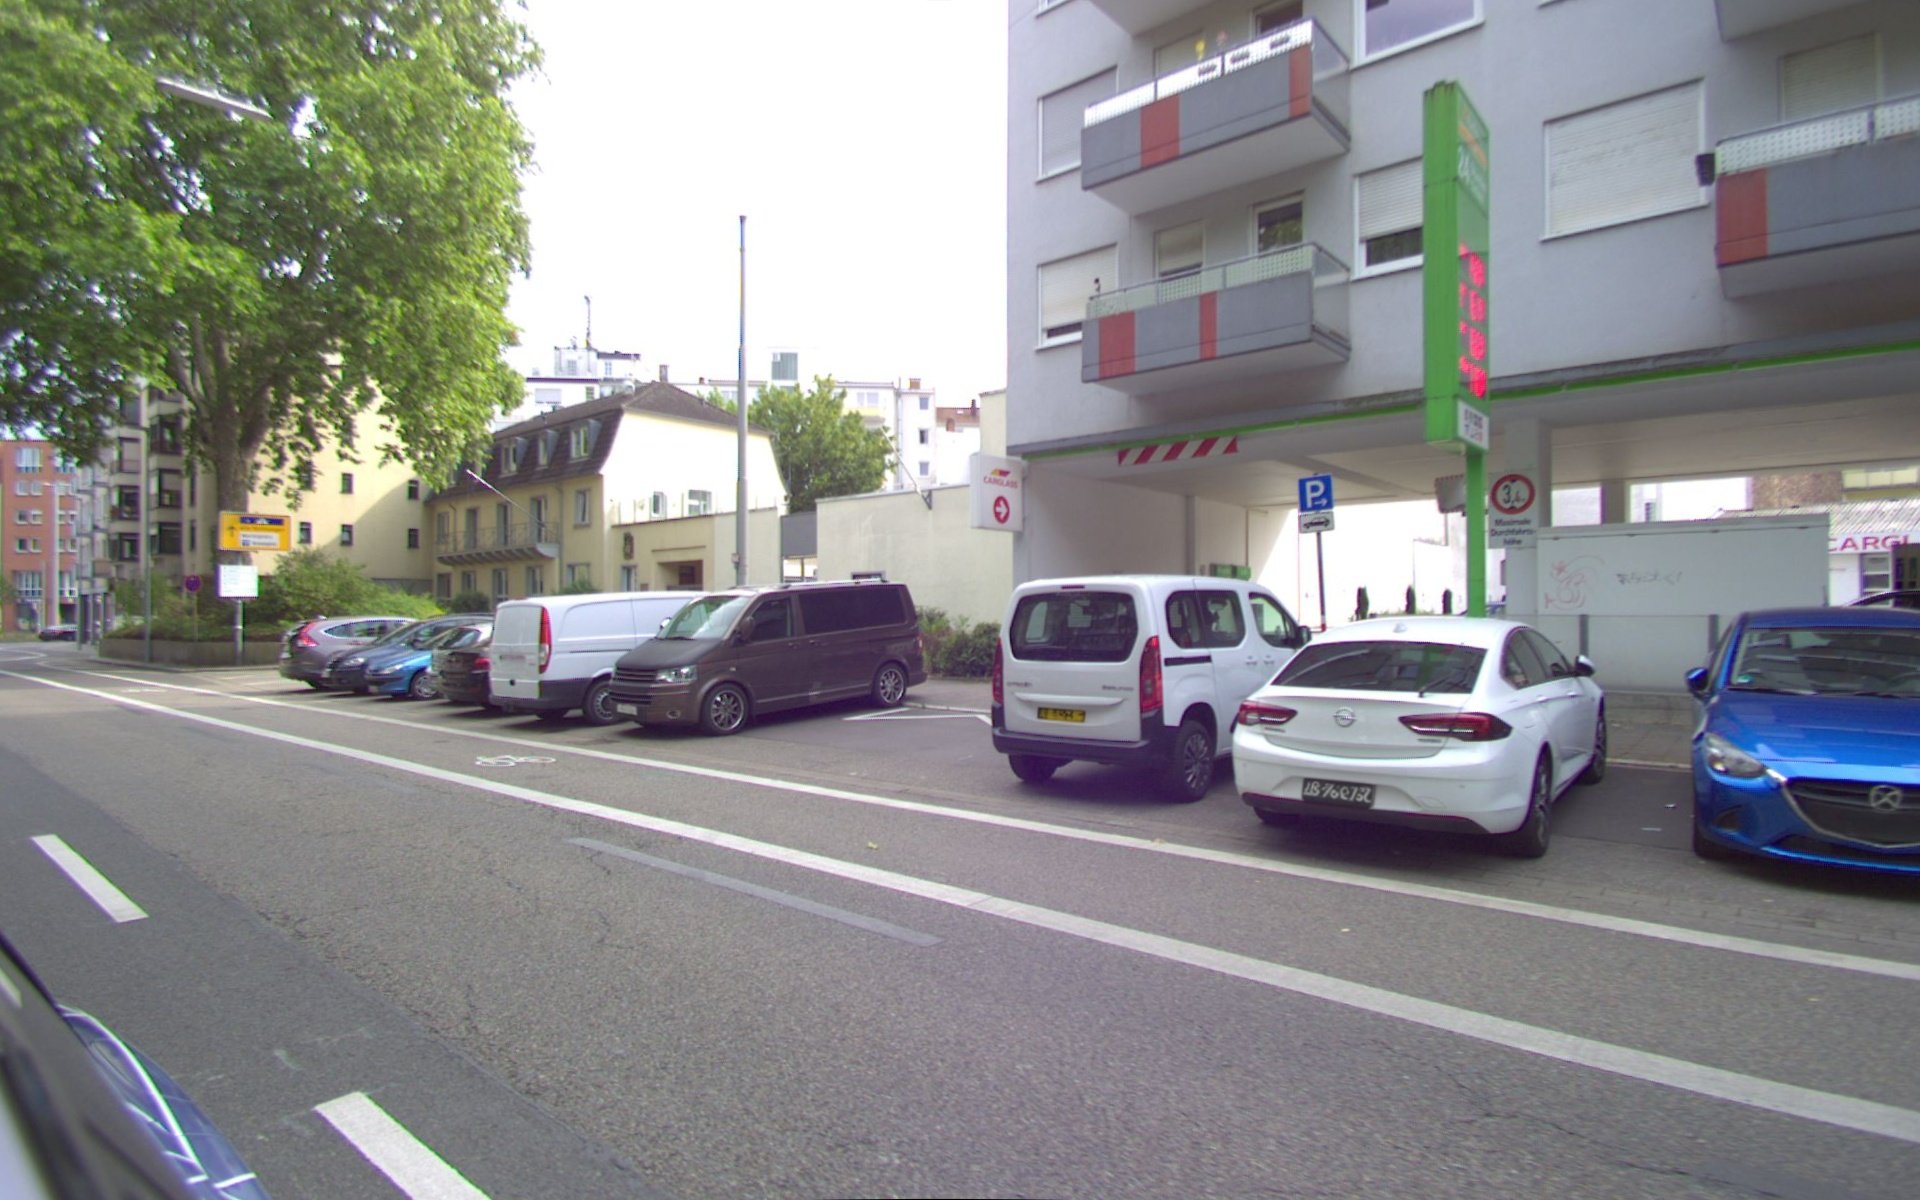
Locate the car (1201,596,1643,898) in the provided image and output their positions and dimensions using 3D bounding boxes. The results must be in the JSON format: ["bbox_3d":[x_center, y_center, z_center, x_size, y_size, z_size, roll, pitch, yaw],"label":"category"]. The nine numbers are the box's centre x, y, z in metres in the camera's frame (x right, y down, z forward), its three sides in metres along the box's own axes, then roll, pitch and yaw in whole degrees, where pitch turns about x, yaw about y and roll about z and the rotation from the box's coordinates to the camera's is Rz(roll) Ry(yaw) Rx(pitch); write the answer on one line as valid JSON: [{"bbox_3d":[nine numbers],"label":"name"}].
[{"bbox_3d":[3.670,0.788,7.563,1.873,1.462,4.227,-2,1,41],"label":"car"}]

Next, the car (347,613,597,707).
[{"bbox_3d":[-9.820,1.134,20.612,1.719,1.522,4.221,-2,1,42],"label":"car"}]

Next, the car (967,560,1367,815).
[{"bbox_3d":[2.169,0.609,9.702,1.923,1.861,4.168,-2,1,41],"label":"car"}]

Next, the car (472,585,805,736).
[{"bbox_3d":[-4.855,0.799,15.825,1.949,1.873,4.568,-2,1,42],"label":"car"}]

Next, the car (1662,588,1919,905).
[{"bbox_3d":[6.089,0.718,6.703,1.909,1.462,4.256,-2,1,41],"label":"car"}]

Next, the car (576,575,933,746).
[{"bbox_3d":[-2.745,0.700,14.504,1.993,1.948,4.717,-2,1,42],"label":"car"}]

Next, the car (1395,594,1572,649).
[{"bbox_3d":[15.466,0.633,30.047,4.364,1.533,1.820,-2,-1,41],"label":"car"}]

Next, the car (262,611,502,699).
[{"bbox_3d":[-13.272,1.191,23.465,1.753,1.618,4.471,-2,1,41],"label":"car"}]

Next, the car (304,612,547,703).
[{"bbox_3d":[-11.489,1.163,21.991,1.732,1.560,4.316,-2,1,41],"label":"car"}]

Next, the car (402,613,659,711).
[{"bbox_3d":[-8.076,1.084,19.312,1.719,1.462,4.149,-2,1,42],"label":"car"}]

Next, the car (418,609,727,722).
[{"bbox_3d":[-6.556,1.016,17.579,1.873,1.480,4.656,-2,1,41],"label":"car"}]

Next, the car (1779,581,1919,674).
[{"bbox_3d":[14.495,0.387,14.695,3.997,1.308,1.888,-1,-1,40],"label":"car"}]

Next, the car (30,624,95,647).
[{"bbox_3d":[-72.125,2.828,81.429,1.940,1.683,4.562,-1,0,-12],"label":"car"}]
